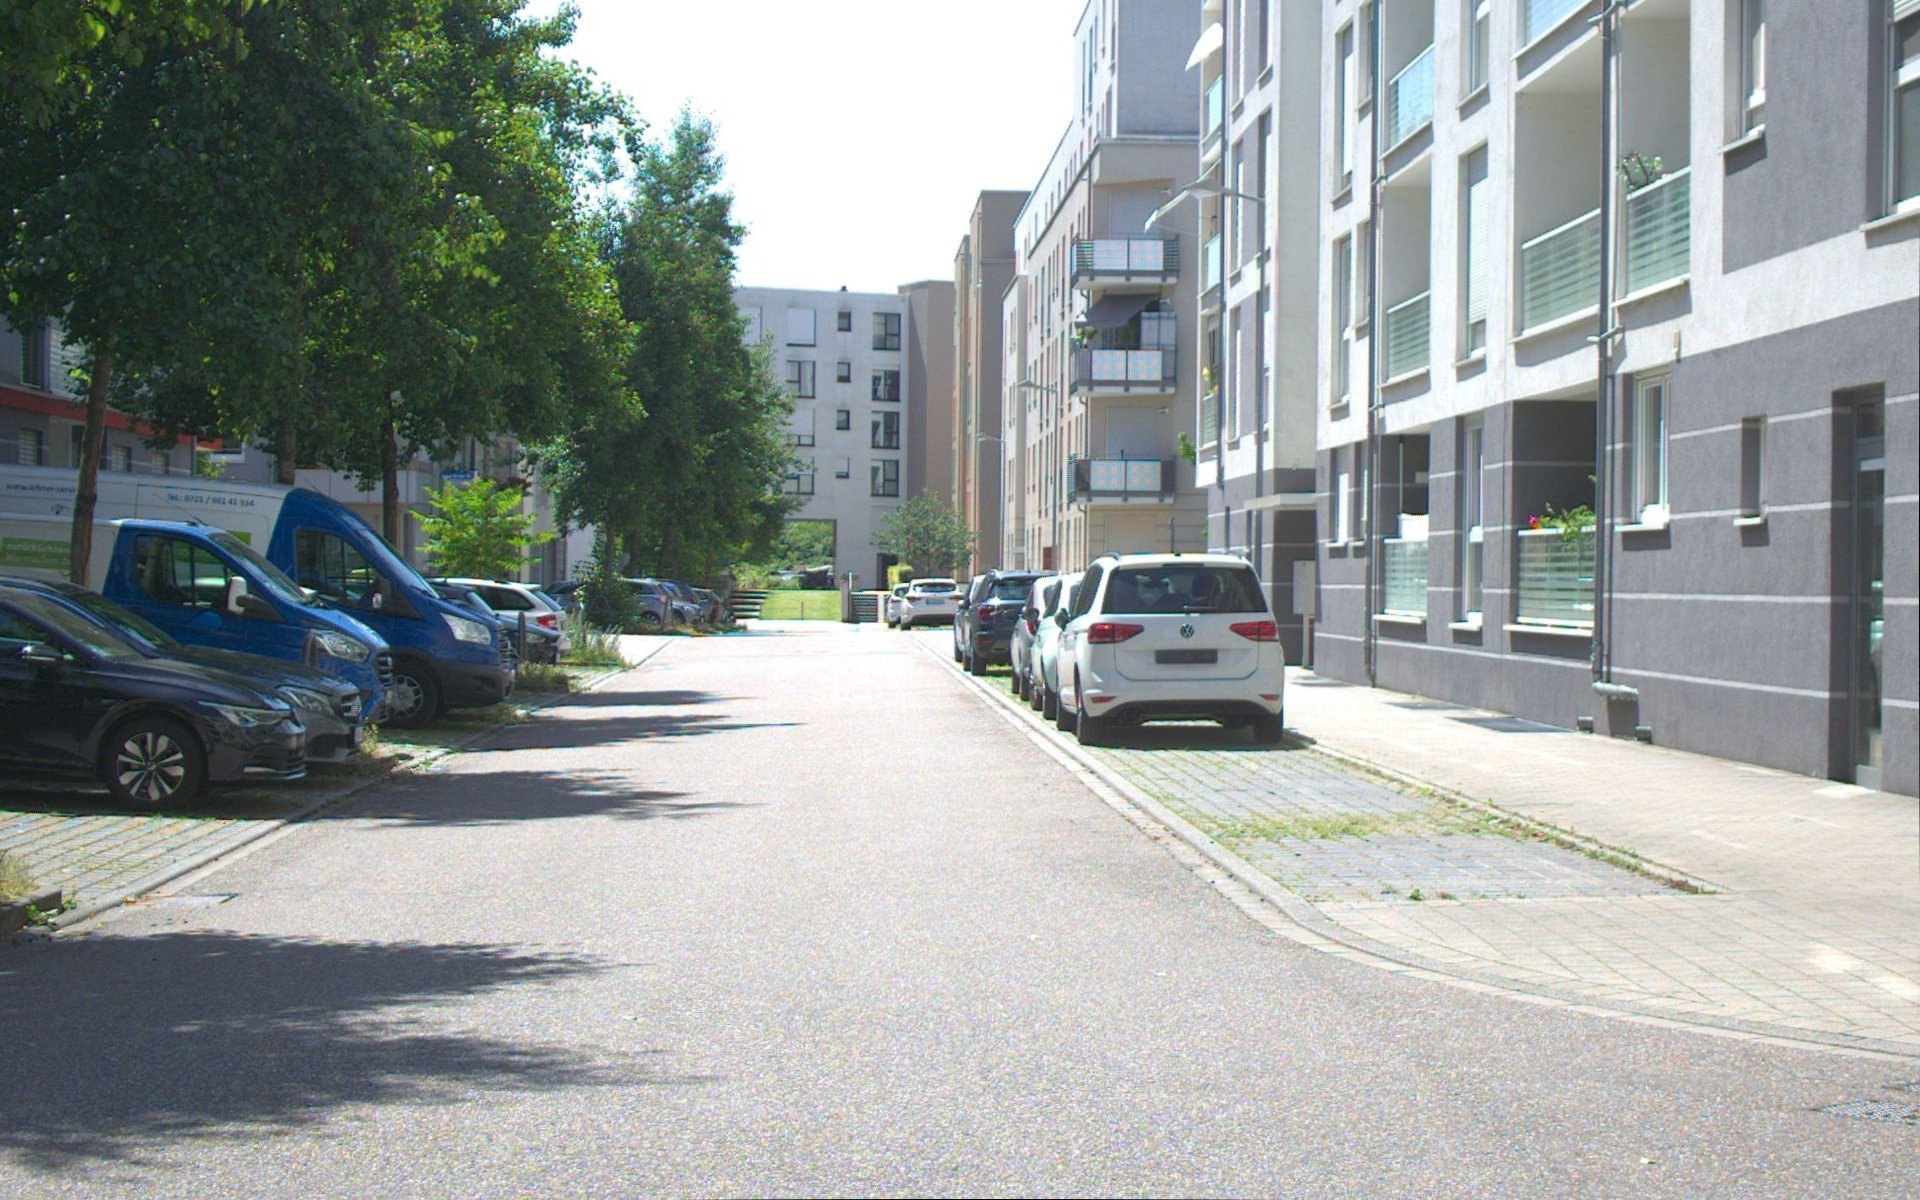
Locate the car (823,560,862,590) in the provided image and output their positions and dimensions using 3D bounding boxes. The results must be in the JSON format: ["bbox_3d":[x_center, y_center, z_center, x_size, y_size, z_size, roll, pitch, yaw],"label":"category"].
[{"bbox_3d":[-6.238,-1.337,182.572,1.993,1.514,4.001,1,1,-3],"label":"car"}]

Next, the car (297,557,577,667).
[{"bbox_3d":[-8.022,0.167,53.018,3.987,1.612,2.000,1,0,0],"label":"car"}]

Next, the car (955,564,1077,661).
[{"bbox_3d":[0.984,0.191,58.556,1.887,1.547,4.000,1,1,3],"label":"car"}]

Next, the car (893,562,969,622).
[{"bbox_3d":[-0.854,-0.251,99.266,1.993,1.669,4.001,1,1,-3],"label":"car"}]

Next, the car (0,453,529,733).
[{"bbox_3d":[-7.639,-0.079,35.815,6.023,2.807,2.605,0,0,-2],"label":"car"}]

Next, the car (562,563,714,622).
[{"bbox_3d":[-9.088,-0.208,97.228,3.987,1.597,2.000,1,0,4],"label":"car"}]

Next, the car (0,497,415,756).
[{"bbox_3d":[-7.578,0.180,30.385,5.144,2.112,2.312,2,1,-2],"label":"car"}]

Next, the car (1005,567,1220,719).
[{"bbox_3d":[1.549,0.410,36.343,1.993,1.519,4.000,0,1,-1],"label":"car"}]

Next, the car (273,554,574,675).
[{"bbox_3d":[-7.650,0.195,49.290,3.987,1.656,2.000,1,0,0],"label":"car"}]

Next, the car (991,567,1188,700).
[{"bbox_3d":[1.495,0.362,41.172,1.993,1.519,4.001,0,1,-3],"label":"car"}]

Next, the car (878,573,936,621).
[{"bbox_3d":[-1.967,-0.120,126.478,1.993,1.711,4.001,1,1,-3],"label":"car"}]

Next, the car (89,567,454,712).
[{"bbox_3d":[-8.266,0.456,41.534,3.987,1.656,2.000,1,0,0],"label":"car"}]

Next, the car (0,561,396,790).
[{"bbox_3d":[-6.581,0.511,25.778,4.382,1.537,1.878,2,0,-2],"label":"car"}]

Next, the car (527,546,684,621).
[{"bbox_3d":[-9.733,-0.462,94.625,3.987,2.007,2.000,1,0,5],"label":"car"}]

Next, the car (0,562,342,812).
[{"bbox_3d":[-6.563,0.508,23.226,4.382,1.510,2.075,3,0,-2],"label":"car"}]

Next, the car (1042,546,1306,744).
[{"bbox_3d":[1.829,0.354,30.646,1.997,1.651,4.115,0,1,-1],"label":"car"}]

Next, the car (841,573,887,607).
[{"bbox_3d":[-4.503,-0.478,161.739,1.993,1.514,4.000,1,1,0],"label":"car"}]

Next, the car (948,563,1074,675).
[{"bbox_3d":[0.766,0.249,50.736,1.757,1.547,4.000,1,1,1],"label":"car"}]
